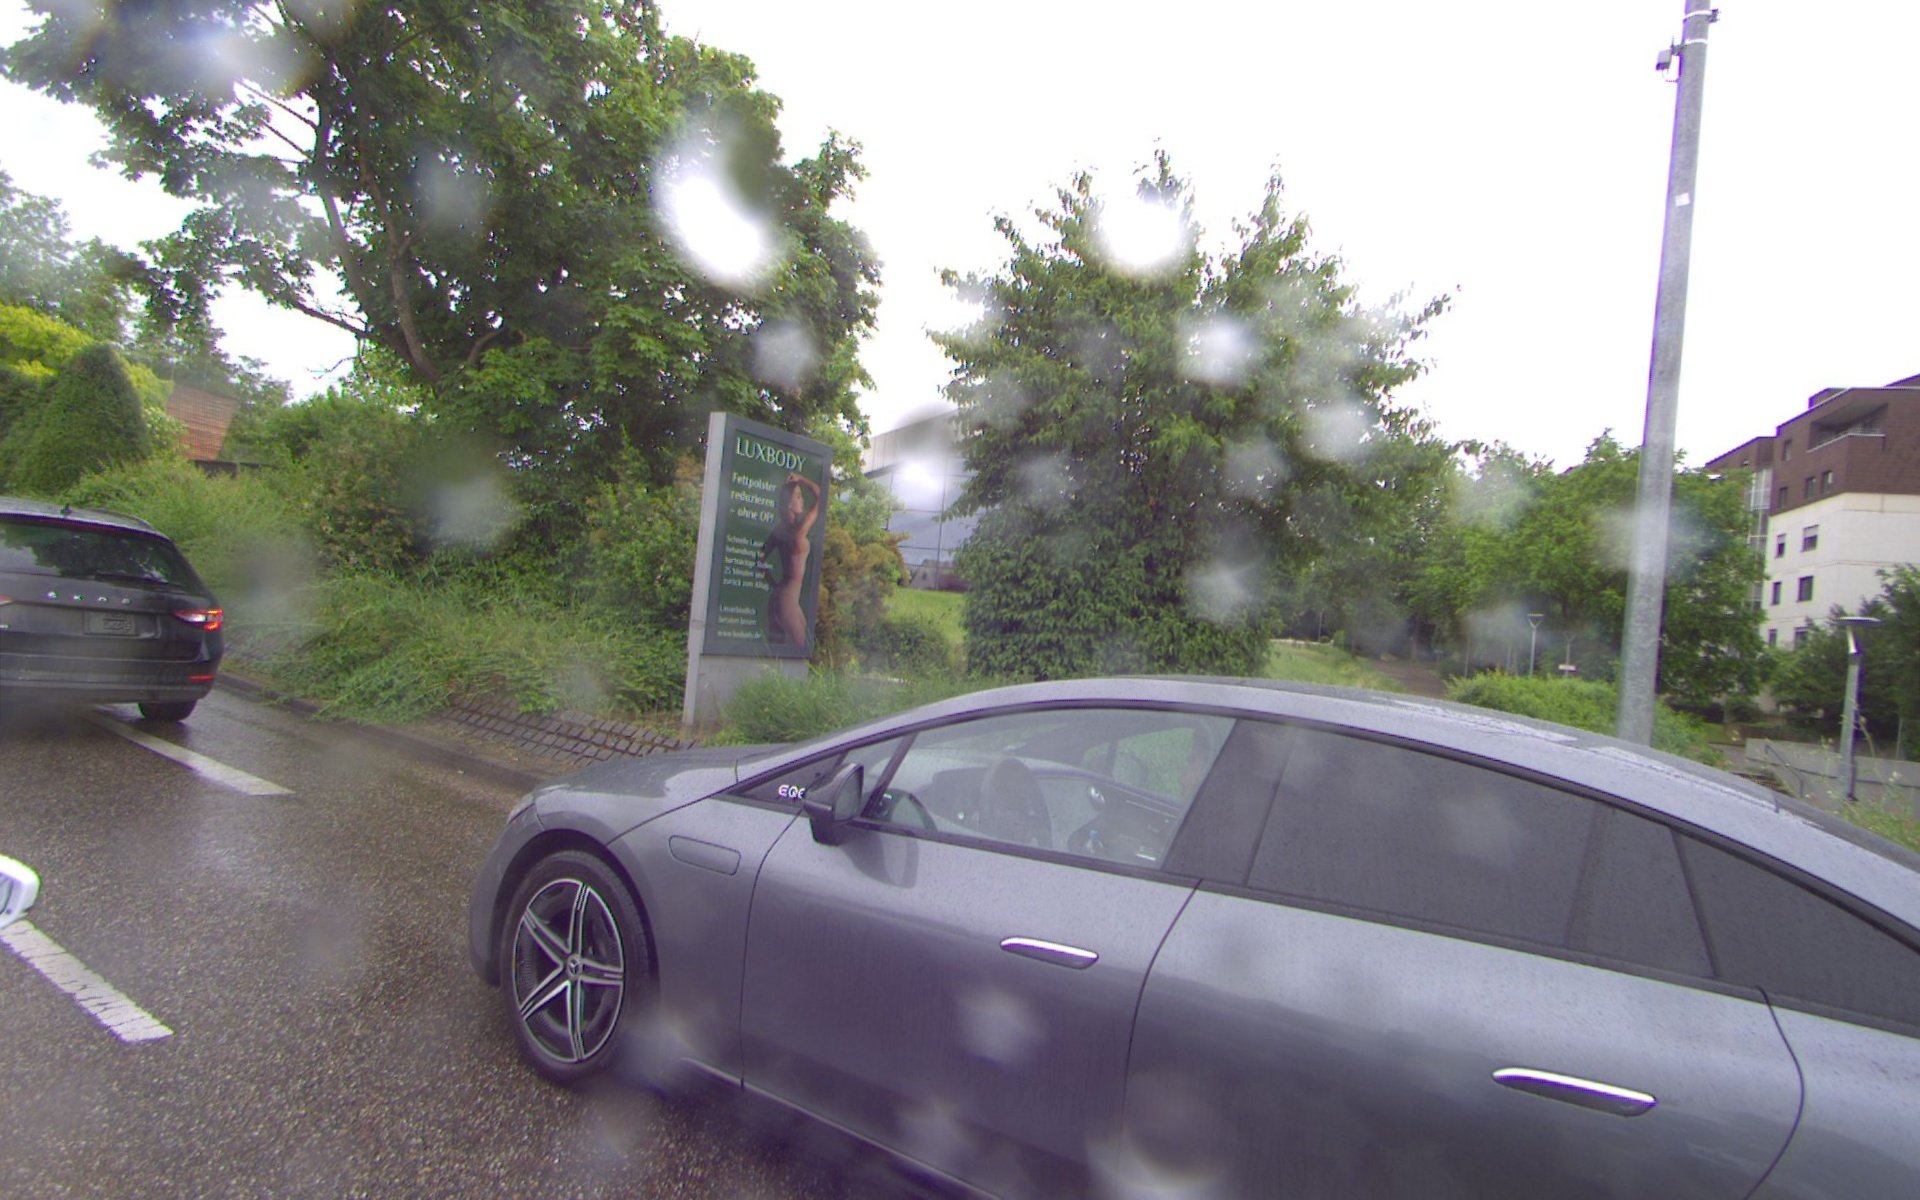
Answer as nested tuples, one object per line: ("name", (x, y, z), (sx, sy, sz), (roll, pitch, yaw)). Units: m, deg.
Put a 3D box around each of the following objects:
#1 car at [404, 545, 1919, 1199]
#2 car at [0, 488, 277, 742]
("car", (0.726, 0.904, 2.899), (4.728, 1.483, 1.842), (7, -2, 31))
("car", (-7.147, -0.075, 7.443), (4.279, 1.483, 1.841), (7, -2, 33))
